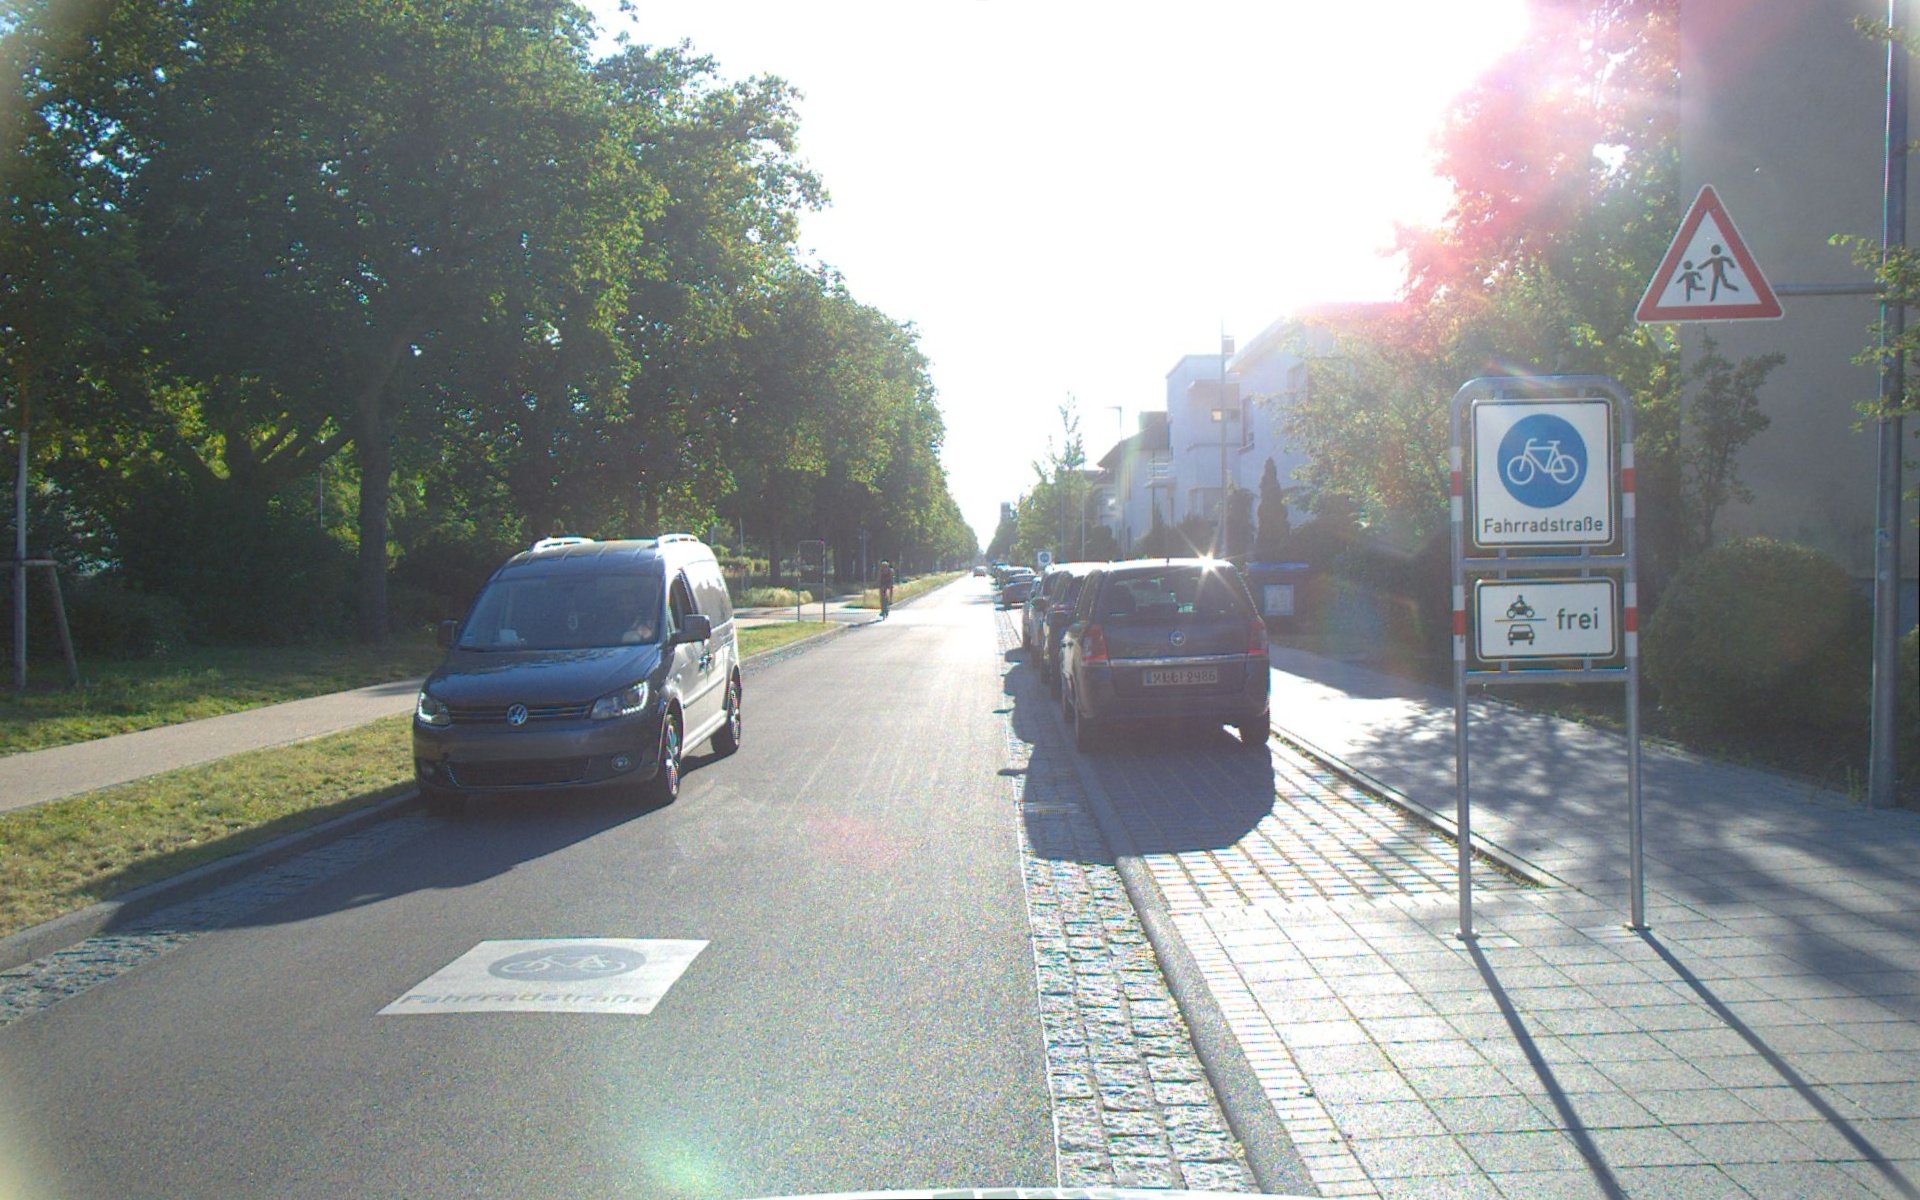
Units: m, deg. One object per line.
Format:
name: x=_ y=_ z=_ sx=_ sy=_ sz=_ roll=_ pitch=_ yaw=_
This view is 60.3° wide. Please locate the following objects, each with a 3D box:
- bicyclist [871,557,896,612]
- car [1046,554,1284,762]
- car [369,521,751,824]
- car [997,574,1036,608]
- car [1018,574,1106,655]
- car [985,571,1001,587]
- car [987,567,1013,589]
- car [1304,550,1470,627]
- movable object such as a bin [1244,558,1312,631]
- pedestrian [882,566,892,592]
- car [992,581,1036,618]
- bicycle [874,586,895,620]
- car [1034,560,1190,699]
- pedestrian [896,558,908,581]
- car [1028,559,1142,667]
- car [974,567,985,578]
bicyclist: x=-2.437 y=-0.491 z=52.817 sx=0.667 sy=1.702 sz=1.172 roll=-1 pitch=0 yaw=0
car: x=1.809 y=0.433 z=15.768 sx=1.675 sy=1.638 sz=4.169 roll=-3 pitch=1 yaw=0
car: x=-2.847 y=0.440 z=12.878 sx=1.806 sy=1.879 sz=4.573 roll=-2 pitch=1 yaw=0
car: x=2.725 y=-0.436 z=80.524 sx=1.709 sy=1.499 sz=3.922 roll=-3 pitch=1 yaw=0
car: x=1.950 y=0.235 z=32.587 sx=1.531 sy=1.414 sz=4.375 roll=-2 pitch=1 yaw=1
car: x=3.371 y=-2.148 z=168.303 sx=1.467 sy=1.594 sz=3.268 roll=-1 pitch=1 yaw=2
car: x=2.805 y=-1.523 z=116.963 sx=1.701 sy=1.474 sz=4.197 roll=-2 pitch=0 yaw=0
car: x=9.416 y=-0.261 z=36.698 sx=3.418 sy=1.670 sz=1.645 roll=0 pitch=1 yaw=9
movable object such as a bin: x=6.429 y=-0.117 z=33.496 sx=1.211 sy=1.457 sz=1.123 roll=0 pitch=1 yaw=3
pedestrian: x=-5.245 y=-1.542 z=118.734 sx=0.611 sy=1.863 sz=0.886 roll=0 pitch=1 yaw=4
car: x=2.240 y=-0.042 z=69.232 sx=1.738 sy=1.310 sz=4.274 roll=-3 pitch=2 yaw=1
bicycle: x=-2.422 y=0.085 z=52.901 sx=0.545 sy=1.050 sz=1.915 roll=-1 pitch=0 yaw=1
car: x=1.888 y=0.311 z=21.549 sx=1.644 sy=1.582 sz=4.145 roll=-2 pitch=1 yaw=1
pedestrian: x=-4.144 y=-2.173 z=118.604 sx=0.766 sy=1.642 sz=0.952 roll=0 pitch=1 yaw=4
car: x=1.975 y=0.156 z=27.106 sx=1.644 sy=1.582 sz=4.132 roll=-2 pitch=1 yaw=2
car: x=2.858 y=-4.076 z=242.181 sx=1.618 sy=1.568 sz=3.267 roll=1 pitch=1 yaw=1
